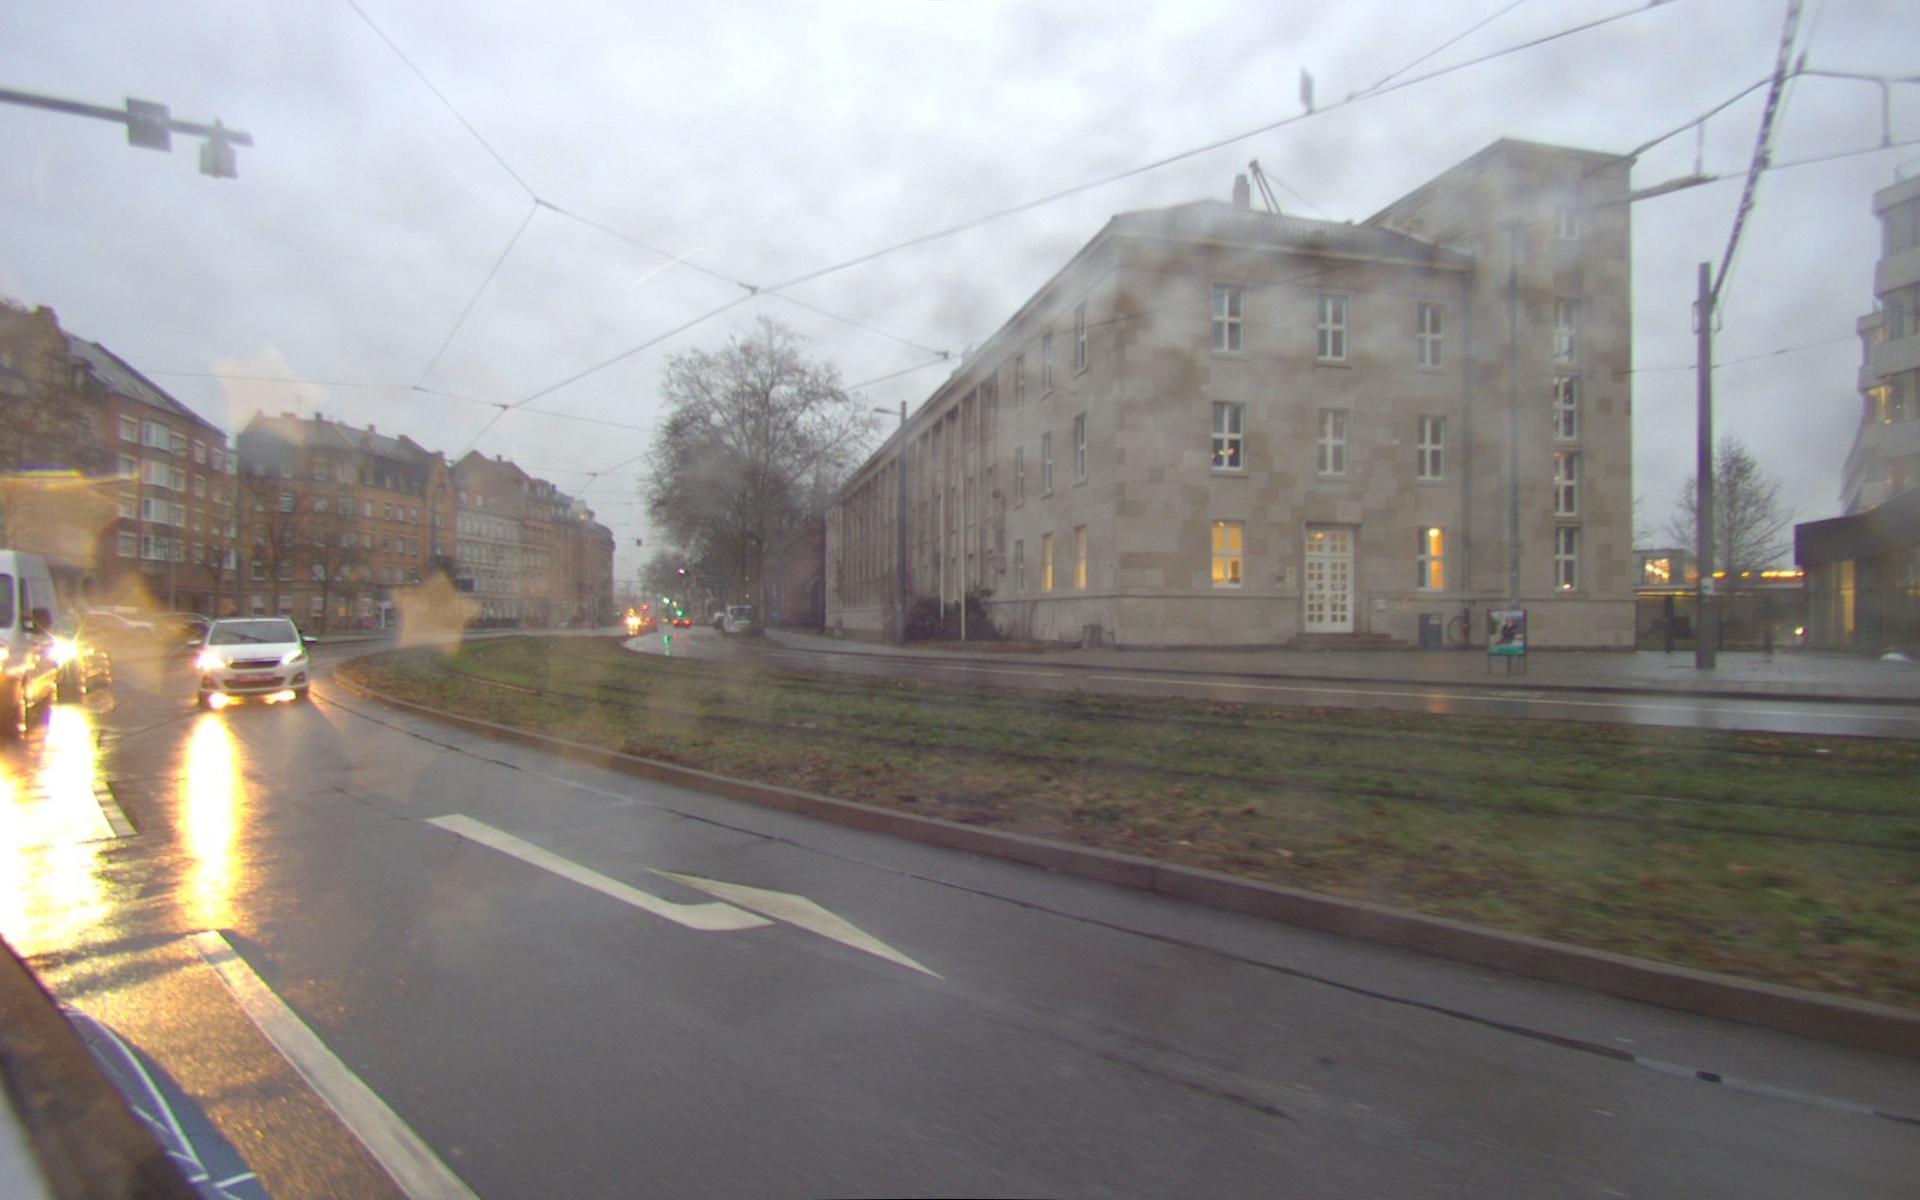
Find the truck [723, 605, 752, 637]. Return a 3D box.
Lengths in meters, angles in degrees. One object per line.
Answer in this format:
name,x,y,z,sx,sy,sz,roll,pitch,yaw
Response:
truck,-14.550,1.372,66.222,1.808,2.060,4.010,0,-1,-12

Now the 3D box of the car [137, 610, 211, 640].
car,-42.928,1.364,55.345,3.135,1.636,1.449,1,-2,-37

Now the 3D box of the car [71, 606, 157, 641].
car,-41.678,1.158,49.919,3.135,1.636,1.431,1,-2,-37

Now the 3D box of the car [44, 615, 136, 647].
car,-40.618,1.438,47.318,3.135,1.440,1.431,1,-2,-37

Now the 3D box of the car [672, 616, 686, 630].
car,-33.783,2.751,121.742,1.662,1.652,3.657,0,-1,-16

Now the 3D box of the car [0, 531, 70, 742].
car,-13.707,0.466,13.656,2.207,2.481,5.681,0,-1,-38

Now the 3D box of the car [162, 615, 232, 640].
car,-43.845,1.577,58.238,3.134,1.424,1.385,1,-2,-35

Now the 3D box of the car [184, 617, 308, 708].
car,-12.698,1.044,18.158,1.662,1.441,3.356,0,-1,-33

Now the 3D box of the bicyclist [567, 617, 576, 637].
bicyclist,-39.509,2.730,102.953,0.766,2.029,0.833,-1,0,-18

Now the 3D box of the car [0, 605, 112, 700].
car,-18.165,0.964,19.949,1.846,1.701,4.181,0,-1,-35

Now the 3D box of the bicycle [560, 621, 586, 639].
bicycle,-39.396,3.023,103.002,2.410,1.719,0.848,-1,0,-19
